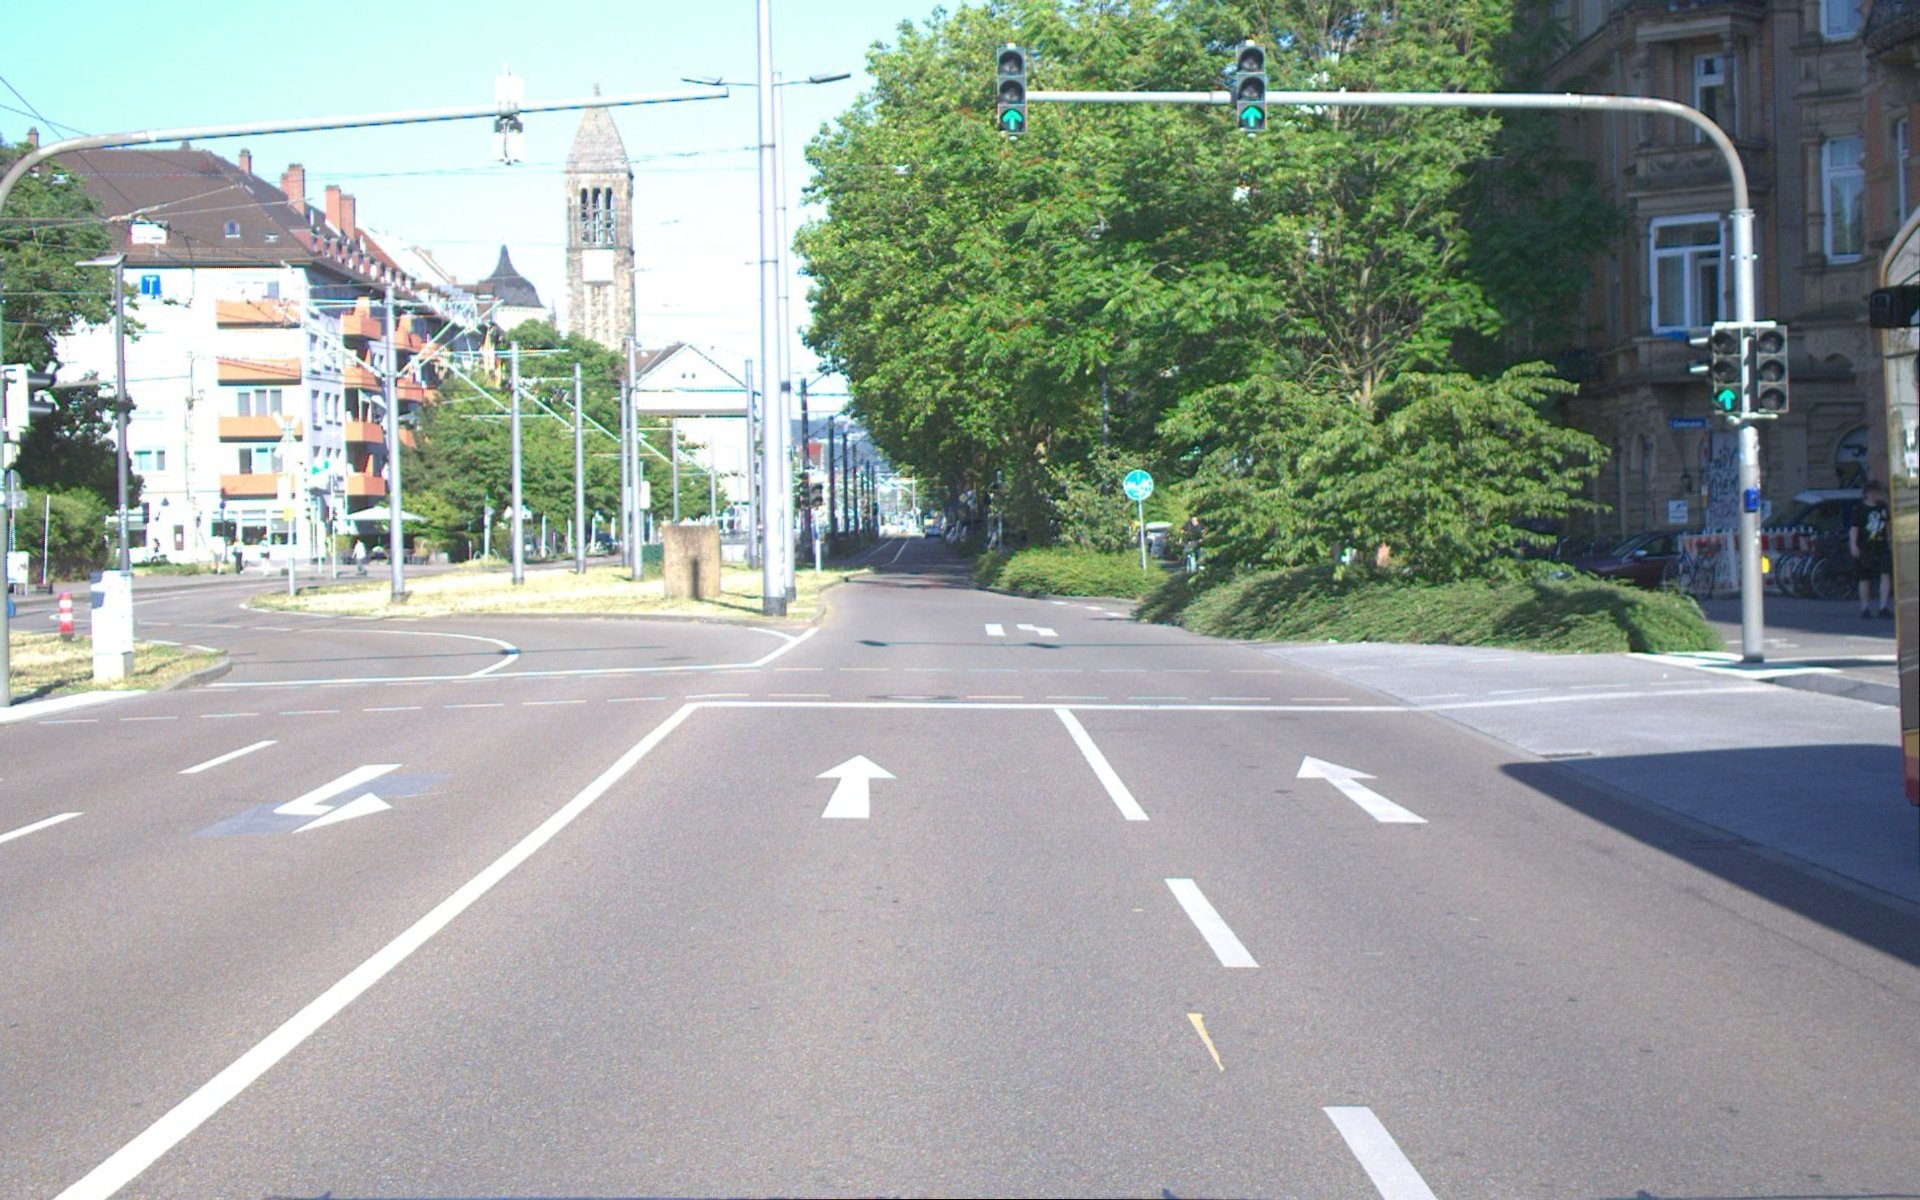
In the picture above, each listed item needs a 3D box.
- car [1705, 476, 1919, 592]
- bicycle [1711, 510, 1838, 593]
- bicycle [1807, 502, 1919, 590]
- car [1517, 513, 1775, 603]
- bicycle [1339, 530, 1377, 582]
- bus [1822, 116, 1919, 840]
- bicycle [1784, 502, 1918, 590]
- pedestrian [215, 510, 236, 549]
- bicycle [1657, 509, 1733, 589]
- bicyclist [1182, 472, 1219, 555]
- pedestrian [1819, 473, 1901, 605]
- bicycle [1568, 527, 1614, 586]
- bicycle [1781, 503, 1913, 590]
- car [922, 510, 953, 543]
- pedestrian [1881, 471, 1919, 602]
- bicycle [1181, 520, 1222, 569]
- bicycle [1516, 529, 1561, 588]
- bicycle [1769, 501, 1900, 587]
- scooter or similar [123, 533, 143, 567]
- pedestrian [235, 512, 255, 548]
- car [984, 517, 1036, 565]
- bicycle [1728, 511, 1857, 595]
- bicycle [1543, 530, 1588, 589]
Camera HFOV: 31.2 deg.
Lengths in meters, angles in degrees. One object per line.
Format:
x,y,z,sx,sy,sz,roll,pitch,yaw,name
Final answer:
17.049,-1.304,67.156,4.576,2.116,1.776,-1,4,-2,car
12.901,-0.769,54.486,1.883,1.234,0.491,-3,0,-13,bicycle
13.605,-0.814,51.135,1.883,1.234,0.491,-3,0,-13,bicycle
12.295,-0.763,61.763,4.250,1.410,1.813,-2,4,-1,car
8.460,-0.948,73.117,0.525,0.985,1.723,-2,4,-2,bicycle
5.611,-0.441,10.276,2.715,3.170,12.542,-2,1,-1,bus
13.385,-0.816,51.672,1.883,1.234,0.491,-3,0,-13,bicycle
-30.844,-2.964,144.400,0.644,1.592,0.898,-2,4,0,pedestrian
11.877,-0.811,55.581,0.489,1.234,1.890,-2,0,-10,bicycle
5.316,-1.905,76.046,0.641,1.808,1.052,-2,0,-1,bicyclist
11.506,-0.788,43.978,0.702,1.650,1.137,-1,1,-1,pedestrian
12.578,-0.875,68.589,0.518,1.044,1.821,-2,4,-1,bicycle
13.493,-0.818,52.291,1.883,1.234,0.491,-3,0,-13,bicycle
-1.446,-4.807,225.861,1.993,2.100,4.000,1,0,0,car
12.304,-0.818,43.996,0.702,1.650,1.137,-1,1,-1,pedestrian
5.334,-1.218,76.033,0.641,1.044,2.360,-2,0,-1,bicycle
11.421,-0.825,67.885,0.518,1.044,1.821,-2,4,-1,bicycle
13.454,-0.861,52.877,1.883,1.234,0.491,-3,0,-13,bicycle
-32.320,-1.944,134.372,0.401,1.256,1.231,-2,4,0,scooter or similar
-30.021,-2.936,144.409,0.589,1.462,0.916,-2,4,0,pedestrian
1.680,-2.021,116.302,1.643,1.506,4.183,-2,2,0,car
13.054,-0.732,53.902,1.883,1.234,0.491,-3,0,-13,bicycle
11.953,-0.803,67.897,0.518,1.044,1.821,-2,4,-1,bicycle
